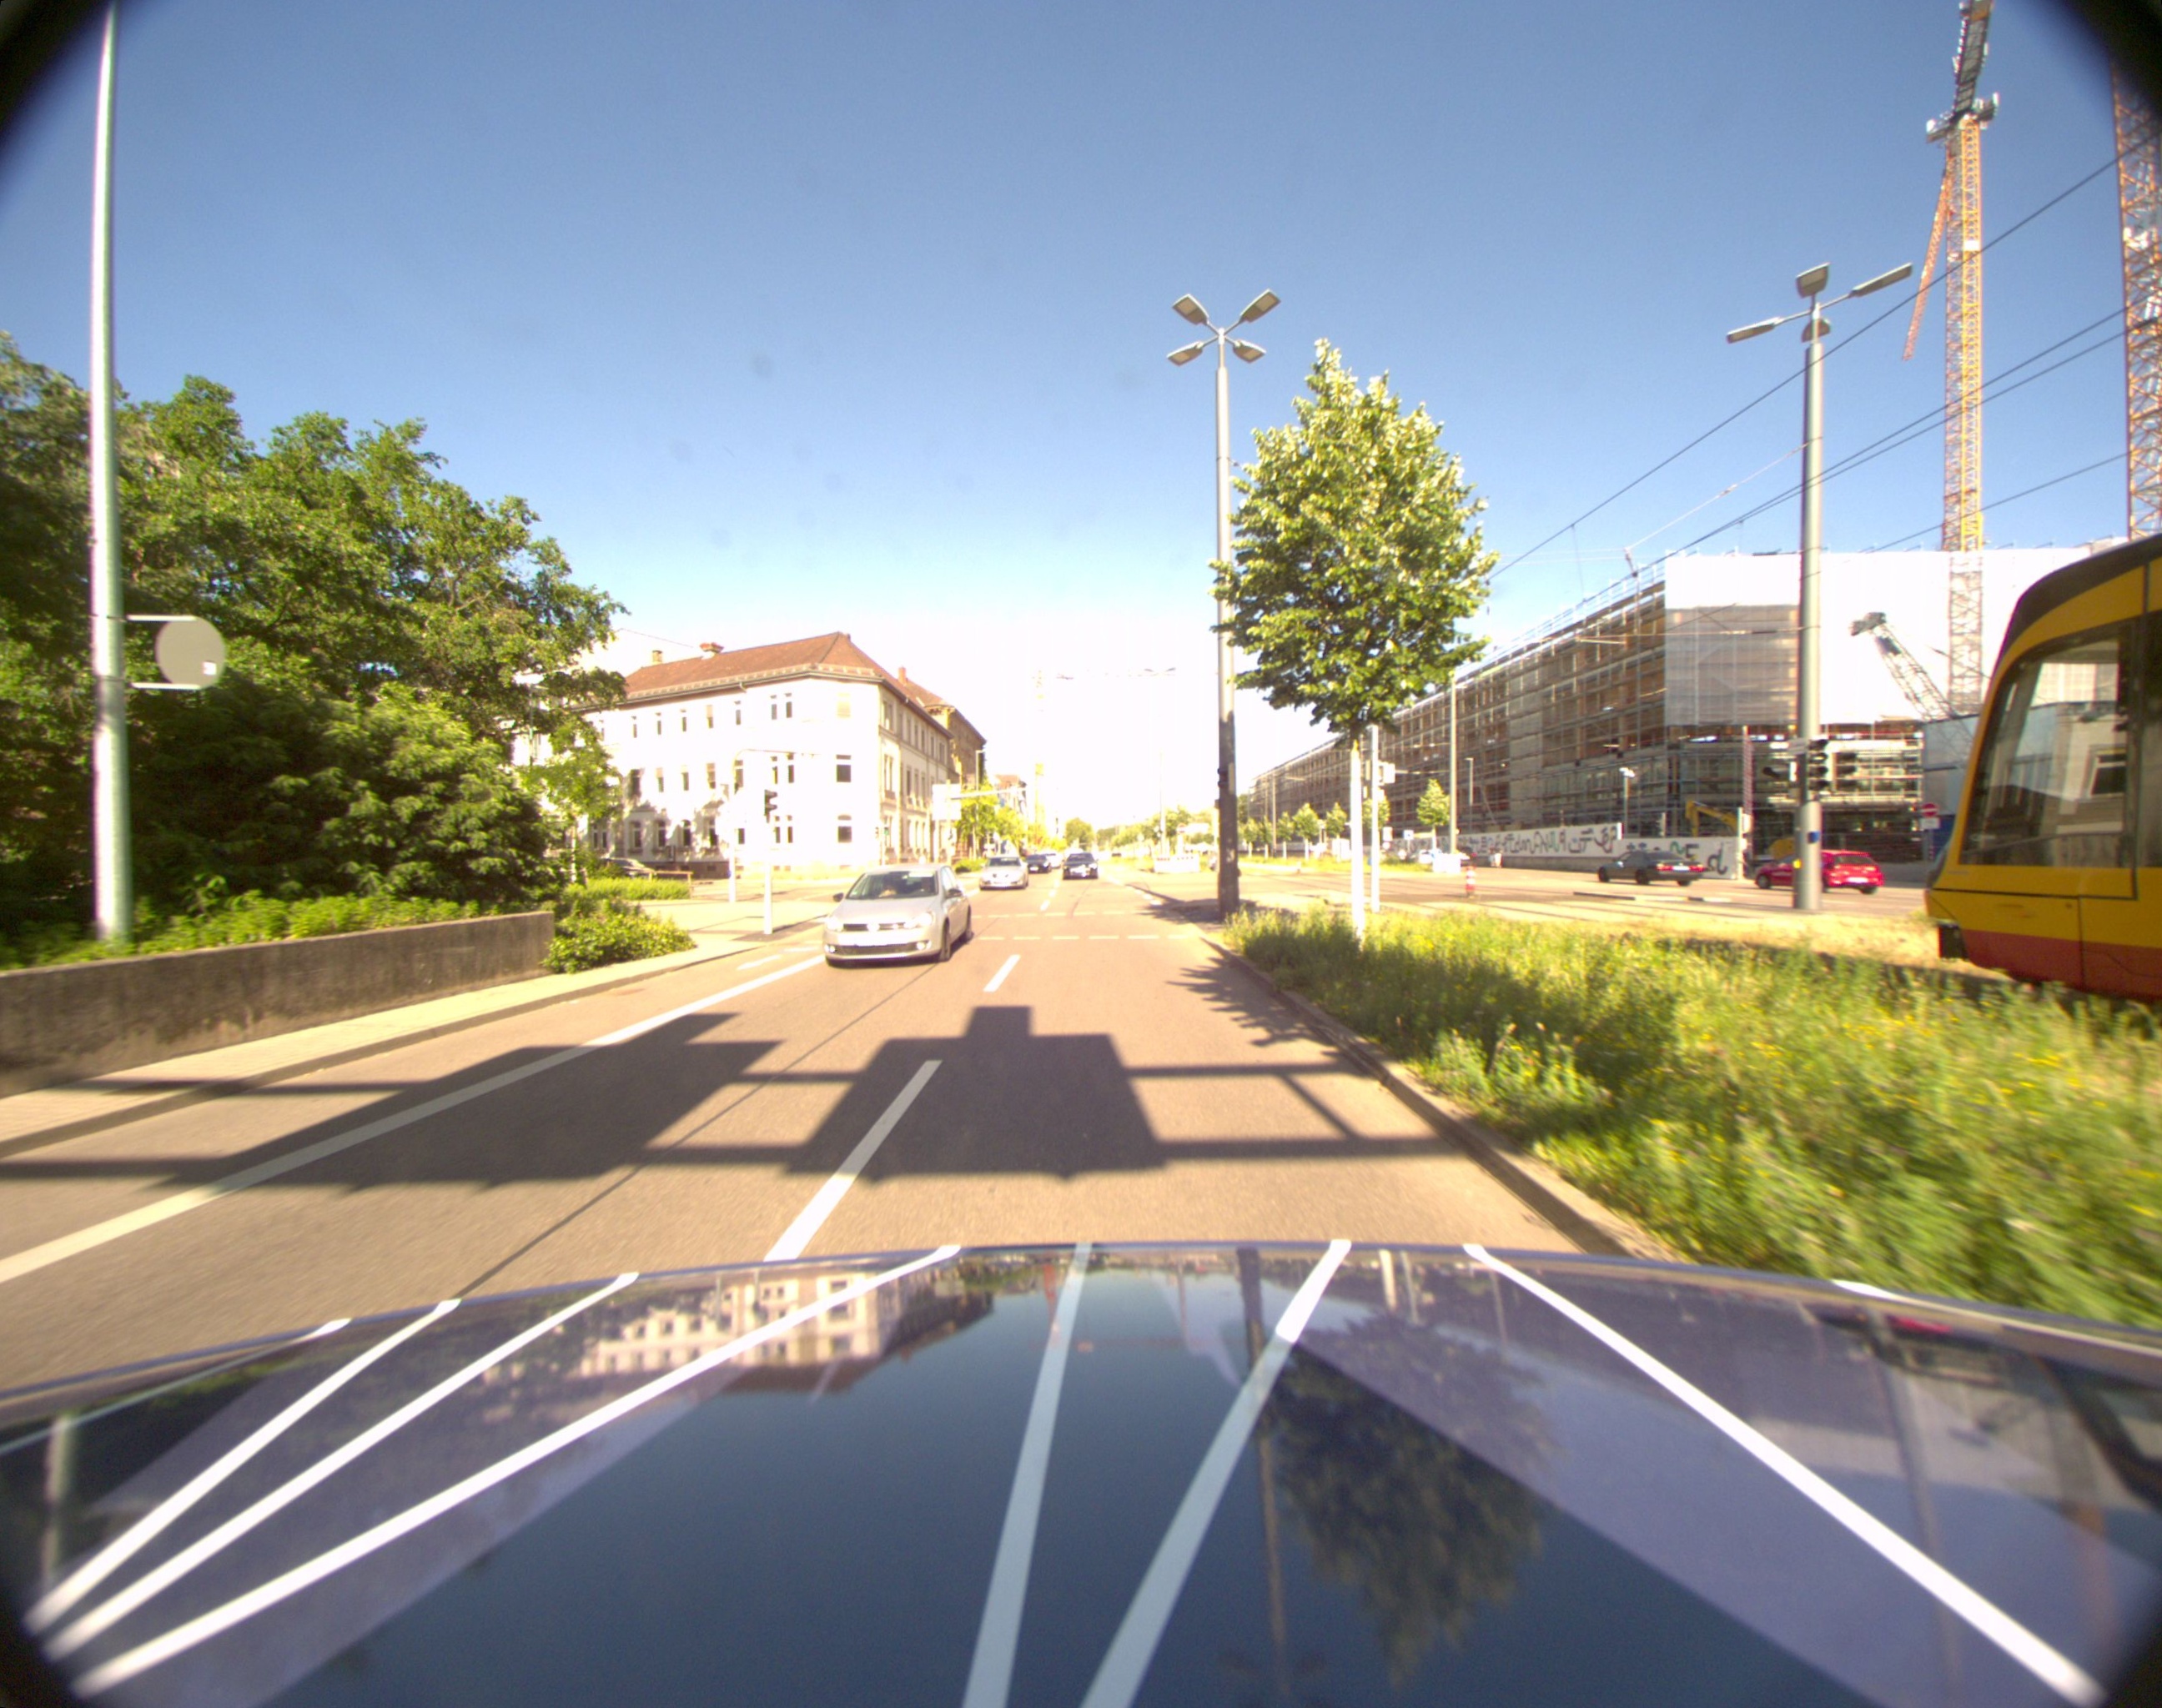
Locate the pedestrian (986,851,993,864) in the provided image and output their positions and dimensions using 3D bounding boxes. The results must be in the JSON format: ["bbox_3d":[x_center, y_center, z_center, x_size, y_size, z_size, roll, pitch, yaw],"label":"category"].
[{"bbox_3d":[-10.909,0.437,90.580,0.669,1.552,0.906,-2,1,-1],"label":"pedestrian"}]

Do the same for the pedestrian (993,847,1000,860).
[{"bbox_3d":[-10.093,-0.022,90.554,0.669,1.552,0.906,-2,1,-1],"label":"pedestrian"}]

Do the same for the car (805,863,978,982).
[{"bbox_3d":[-2.834,0.950,12.271,1.703,1.466,3.999,-2,1,0],"label":"car"}]

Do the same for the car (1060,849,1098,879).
[{"bbox_3d":[-0.166,0.507,41.519,1.999,1.493,3.999,0,1,-2],"label":"car"}]

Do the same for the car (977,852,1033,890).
[{"bbox_3d":[-3.067,0.659,31.548,1.839,1.416,3.999,-2,1,0],"label":"car"}]

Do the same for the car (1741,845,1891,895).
[{"bbox_3d":[26.107,0.516,27.202,1.888,1.565,4.002,-2,1,9],"label":"car"}]

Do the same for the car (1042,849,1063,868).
[{"bbox_3d":[-2.572,0.354,69.143,1.703,1.622,3.999,-2,1,0],"label":"car"}]

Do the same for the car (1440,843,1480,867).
[{"bbox_3d":[26.128,0.039,52.537,1.725,1.488,3.578,-1,1,14],"label":"car"}]

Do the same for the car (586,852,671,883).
[{"bbox_3d":[-23.217,0.730,38.951,3.990,1.473,1.736,-1,-2,24],"label":"car"}]

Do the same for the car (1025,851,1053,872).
[{"bbox_3d":[-3.016,0.513,55.205,1.703,1.416,3.999,-2,1,0],"label":"car"}]

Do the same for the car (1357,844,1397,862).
[{"bbox_3d":[27.655,-0.092,71.148,1.890,1.565,3.997,-2,1,-5],"label":"car"}]

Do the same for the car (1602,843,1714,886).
[{"bbox_3d":[23.000,0.355,30.484,1.888,1.565,4.002,-2,1,9],"label":"car"}]
